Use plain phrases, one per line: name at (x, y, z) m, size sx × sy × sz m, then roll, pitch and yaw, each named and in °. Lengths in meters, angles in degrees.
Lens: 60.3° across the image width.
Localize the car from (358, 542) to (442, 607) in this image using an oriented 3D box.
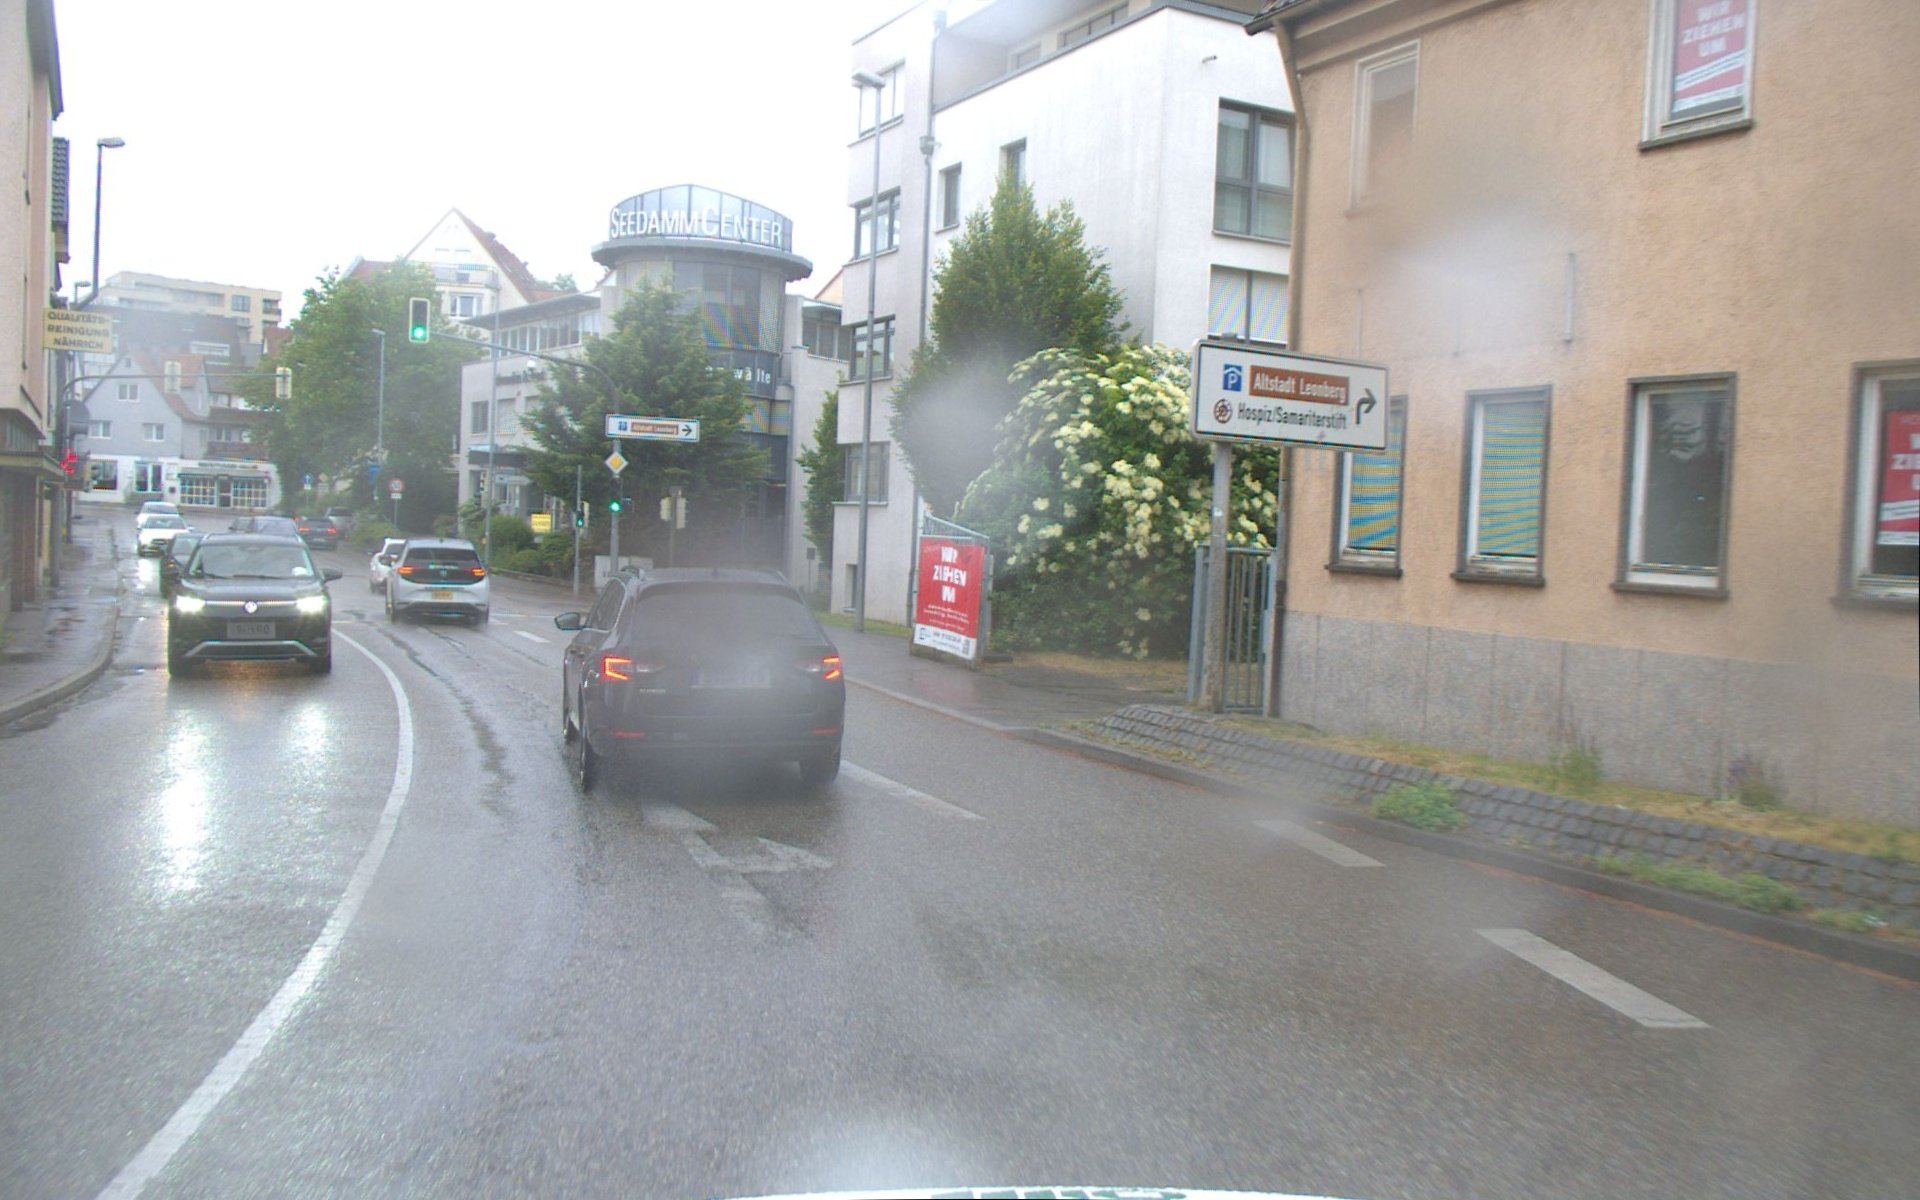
car at (-15.376, -0.658, 45.292) m, size 1.706 × 1.618 × 4.151 m, roll 3°, pitch -1°, yaw -25°

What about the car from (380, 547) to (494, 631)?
car at (-10.058, -0.246, 31.634) m, size 1.792 × 1.383 × 3.965 m, roll 2°, pitch 2°, yaw -22°

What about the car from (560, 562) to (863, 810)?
car at (-2.040, 0.502, 12.495) m, size 1.753 × 1.509 × 4.228 m, roll -1°, pitch 1°, yaw -16°

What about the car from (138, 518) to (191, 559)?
car at (-29.805, -2.315, 61.927) m, size 1.670 × 1.396 × 4.078 m, roll -1°, pitch 4°, yaw -27°

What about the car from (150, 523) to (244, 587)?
car at (-18.005, -1.065, 38.946) m, size 1.751 × 1.426 × 3.882 m, roll 0°, pitch 2°, yaw -29°

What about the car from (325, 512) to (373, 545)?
car at (-33.333, -3.910, 90.211) m, size 1.833 × 1.669 × 3.833 m, roll 0°, pitch 3°, yaw -30°

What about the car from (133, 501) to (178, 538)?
car at (-38.063, -3.827, 78.187) m, size 1.764 × 1.587 × 4.298 m, roll 0°, pitch 3°, yaw -28°

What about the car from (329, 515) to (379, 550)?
car at (-30.994, -3.472, 84.569) m, size 1.833 × 1.669 × 3.503 m, roll 0°, pitch 3°, yaw -30°

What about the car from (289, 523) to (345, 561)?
car at (-28.902, -2.608, 74.281) m, size 1.872 × 1.618 × 3.654 m, roll 0°, pitch 2°, yaw -29°

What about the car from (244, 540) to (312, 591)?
car at (-24.675, -1.270, 59.764) m, size 1.764 × 1.589 × 4.362 m, roll 2°, pitch 2°, yaw -28°

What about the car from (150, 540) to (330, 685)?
car at (-9.106, 0.070, 21.063) m, size 1.868 × 1.623 × 4.325 m, roll -1°, pitch 2°, yaw -23°

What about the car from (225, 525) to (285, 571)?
car at (-28.225, -2.104, 66.160) m, size 1.764 × 1.589 × 4.362 m, roll 2°, pitch 2°, yaw -28°
